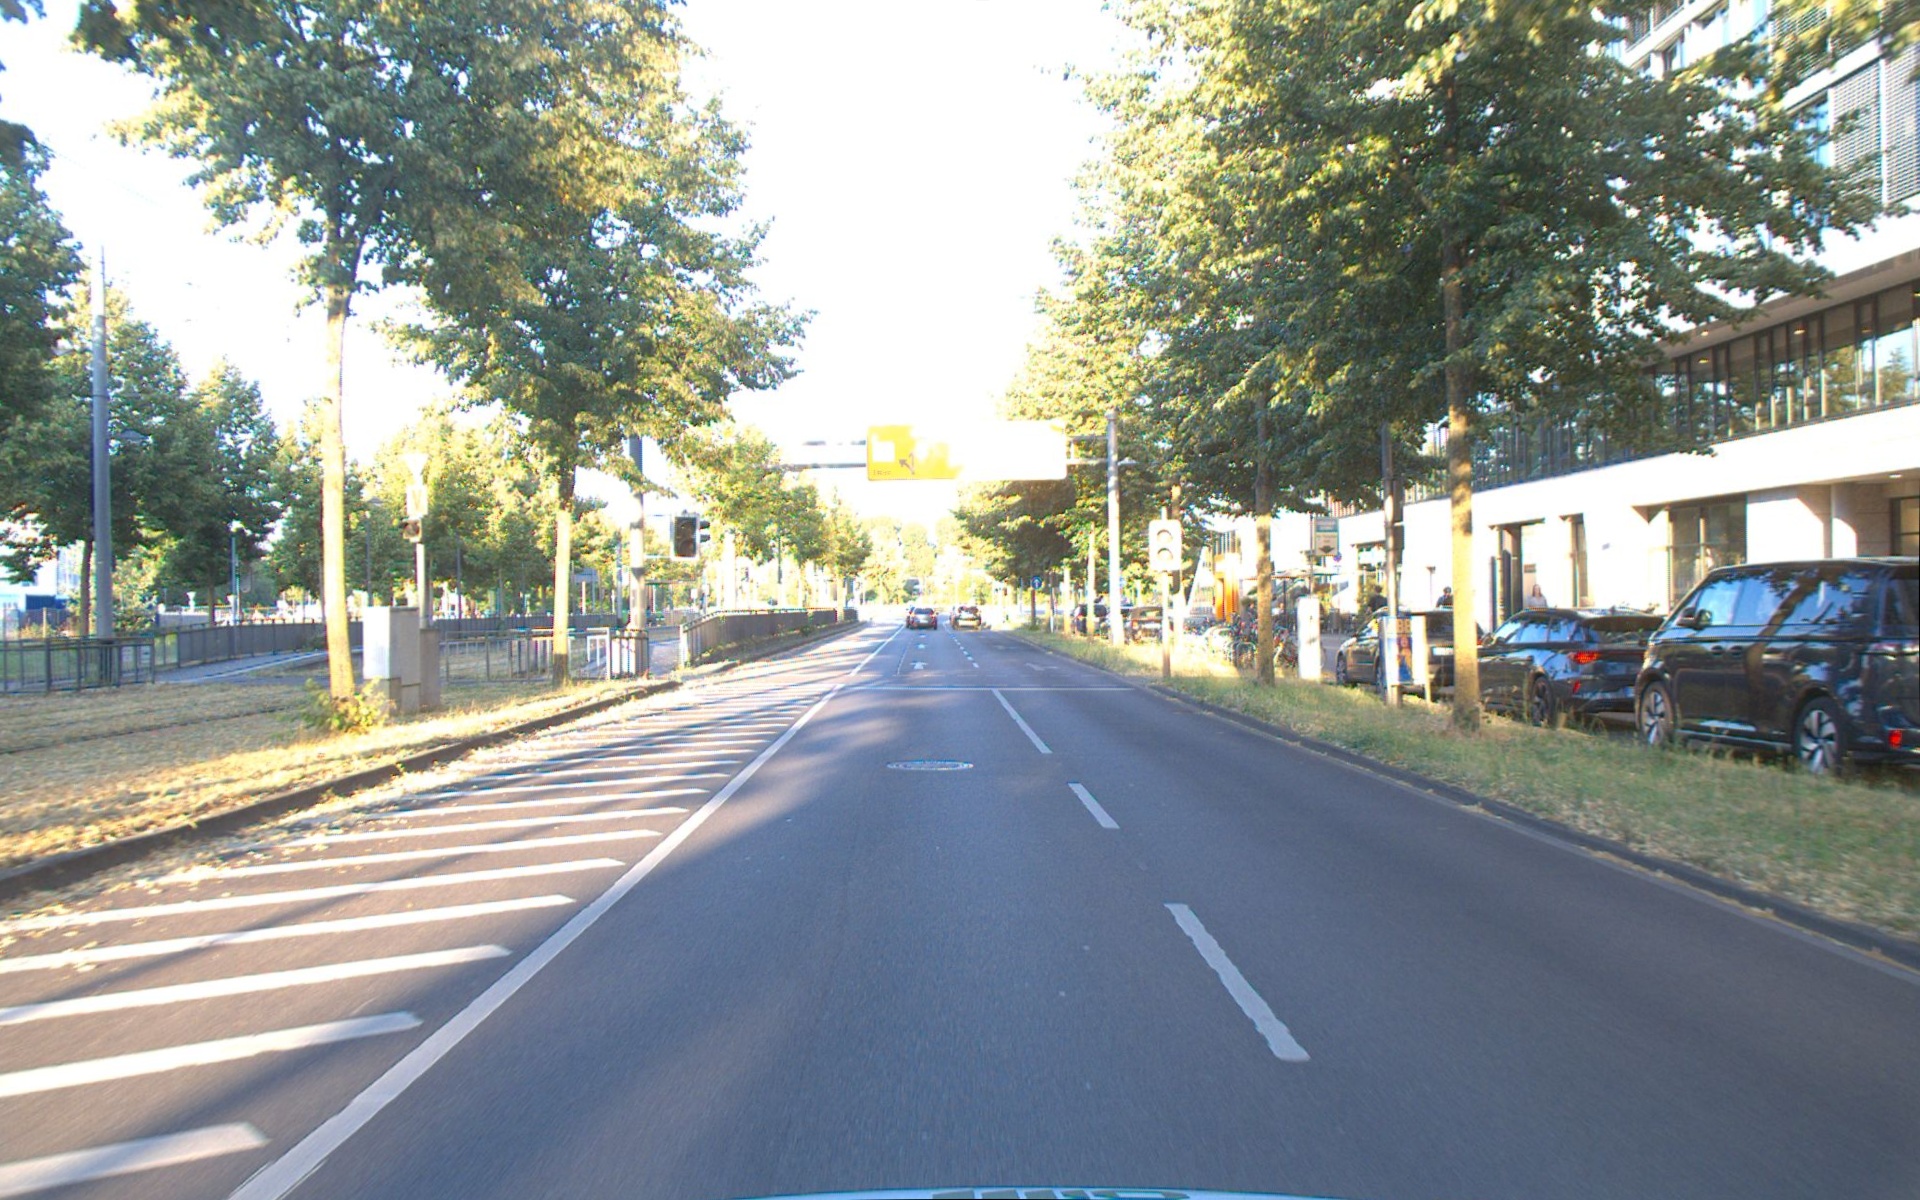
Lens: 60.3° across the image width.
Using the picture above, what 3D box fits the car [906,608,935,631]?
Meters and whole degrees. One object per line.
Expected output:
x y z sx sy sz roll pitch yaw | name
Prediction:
-2.658 1.308 111.404 1.873 1.512 3.998 -1 0 -2 | car

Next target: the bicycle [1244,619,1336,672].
7.351 1.004 36.858 1.903 1.072 0.545 3 -1 -2 | bicycle

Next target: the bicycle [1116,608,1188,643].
5.852 0.769 50.486 2.102 0.956 0.451 3 -1 -8 | bicycle

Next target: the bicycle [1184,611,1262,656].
6.729 0.850 42.269 1.906 1.072 0.413 3 -1 -9 | bicycle

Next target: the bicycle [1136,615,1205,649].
6.614 1.007 51.979 2.102 0.956 0.442 3 -1 -8 | bicycle

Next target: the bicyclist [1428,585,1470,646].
13.004 0.417 43.976 0.756 1.594 0.991 -1 0 -4 | bicyclist

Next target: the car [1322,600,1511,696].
7.528 0.744 27.740 1.831 1.436 4.645 -1 0 0 | car

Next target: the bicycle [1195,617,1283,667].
6.423 0.963 38.090 1.910 1.072 0.543 3 -1 -16 | bicycle

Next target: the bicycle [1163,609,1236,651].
6.517 0.818 45.027 1.905 1.072 0.404 3 -1 -8 | bicycle

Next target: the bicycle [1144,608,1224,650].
6.277 0.819 46.325 2.102 1.072 0.561 3 -1 -8 | bicycle

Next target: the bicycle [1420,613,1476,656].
13.004 0.907 44.122 0.756 1.098 2.062 -1 0 -4 | bicycle

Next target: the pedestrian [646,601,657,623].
-19.112 0.764 102.510 0.602 1.342 0.744 -1 0 -5 | pedestrian

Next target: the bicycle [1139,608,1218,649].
6.207 0.807 46.991 2.102 1.072 0.570 3 -1 -8 | bicycle

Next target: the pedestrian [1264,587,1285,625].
14.969 0.292 78.782 0.696 1.768 0.682 -1 -1 -32 | pedestrian

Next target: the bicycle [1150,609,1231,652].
6.359 0.833 45.640 2.102 1.072 0.570 3 -1 -8 | bicycle

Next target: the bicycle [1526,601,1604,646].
16.279 0.625 44.520 1.943 1.161 0.503 -1 0 -5 | bicycle

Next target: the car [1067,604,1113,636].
6.481 0.983 82.769 1.722 1.491 4.155 -1 0 -4 | car

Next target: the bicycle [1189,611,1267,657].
6.775 0.854 41.787 1.906 1.072 0.347 3 -1 -9 | bicycle

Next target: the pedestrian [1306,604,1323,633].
15.372 0.798 71.725 0.560 1.216 0.806 -1 0 -1 | pedestrian

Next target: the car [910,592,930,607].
-3.962 -0.039 162.589 1.873 1.512 3.998 -1 0 -2 | car

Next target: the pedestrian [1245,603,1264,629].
14.726 0.802 82.716 0.617 1.305 0.712 -1 0 -23 | pedestrian

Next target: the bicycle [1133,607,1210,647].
6.077 0.777 47.576 2.102 1.072 0.524 3 -1 -8 | bicycle

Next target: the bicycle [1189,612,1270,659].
6.619 0.875 40.593 1.906 1.072 0.408 3 -1 -9 | bicycle

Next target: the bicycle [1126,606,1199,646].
5.947 0.752 48.575 2.102 1.072 0.300 3 -1 -8 | bicycle

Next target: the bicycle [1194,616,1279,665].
6.580 0.964 39.401 1.908 1.072 0.543 3 -1 -12 | bicycle

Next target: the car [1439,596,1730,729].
7.873 0.729 21.381 1.773 1.497 4.662 -1 0 -3 | car

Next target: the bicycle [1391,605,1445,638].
16.157 0.754 58.320 1.750 1.124 0.508 -1 -1 -6 | bicycle

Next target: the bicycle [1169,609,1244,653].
6.576 0.830 44.093 1.904 1.072 0.404 3 -1 -5 | bicycle

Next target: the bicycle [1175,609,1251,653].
6.652 0.817 43.474 1.906 1.072 0.413 3 -1 -9 | bicycle

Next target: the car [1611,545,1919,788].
8.008 0.511 15.241 1.954 1.884 4.662 -1 0 -3 | car

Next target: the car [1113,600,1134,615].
19.449 0.844 197.028 1.951 1.758 4.003 -1 0 14 | car

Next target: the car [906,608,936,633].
-2.486 1.262 104.887 1.873 1.512 3.998 -1 0 -2 | car

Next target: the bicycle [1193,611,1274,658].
6.792 0.850 41.041 1.906 1.072 0.408 3 -1 -9 | bicycle

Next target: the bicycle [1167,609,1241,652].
6.576 0.815 44.565 1.905 1.072 0.404 3 -1 -8 | bicycle

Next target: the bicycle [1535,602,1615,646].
16.293 0.628 43.848 1.943 1.119 0.503 -1 0 -5 | bicycle

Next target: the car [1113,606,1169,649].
6.602 0.967 60.614 1.543 1.498 3.881 -1 0 -1 | car

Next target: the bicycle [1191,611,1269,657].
6.759 0.859 41.427 1.906 1.072 0.314 3 -1 -9 | bicycle

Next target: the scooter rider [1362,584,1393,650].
10.735 0.430 42.525 0.515 1.667 0.831 -1 0 -4 | scooter rider

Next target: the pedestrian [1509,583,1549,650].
14.550 0.419 42.301 0.630 1.677 0.953 -1 0 -2 | pedestrian

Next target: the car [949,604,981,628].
0.319 0.993 104.585 1.873 1.512 3.998 -1 0 -2 | car

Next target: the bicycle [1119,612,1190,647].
6.006 0.908 51.022 2.102 0.956 0.442 3 -1 -8 | bicycle

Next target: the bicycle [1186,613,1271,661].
6.497 0.888 40.037 1.906 1.072 0.544 3 -1 -9 | bicycle

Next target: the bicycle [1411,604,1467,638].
16.292 0.703 56.226 1.750 1.124 0.508 -1 -1 -6 | bicycle

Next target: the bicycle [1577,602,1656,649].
16.528 0.636 41.629 1.795 1.132 0.503 -1 0 -5 | bicycle

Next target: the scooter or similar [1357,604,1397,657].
10.735 0.784 42.638 0.515 1.333 1.663 -1 0 -4 | scooter or similar

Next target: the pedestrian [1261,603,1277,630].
15.376 0.812 82.380 0.567 1.305 0.738 -1 0 -5 | pedestrian

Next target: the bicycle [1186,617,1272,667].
6.293 0.973 38.666 1.910 1.072 0.543 3 -1 -16 | bicycle

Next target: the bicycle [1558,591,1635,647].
16.401 0.487 42.615 1.795 1.380 0.503 -1 0 -5 | bicycle

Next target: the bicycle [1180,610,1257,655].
6.697 0.829 42.844 1.906 1.072 0.413 3 -1 -9 | bicycle

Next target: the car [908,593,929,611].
-3.671 0.173 146.059 1.873 1.512 3.998 -1 0 -2 | car

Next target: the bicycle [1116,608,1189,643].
5.823 0.777 49.994 2.102 0.956 0.442 3 -1 -8 | bicycle

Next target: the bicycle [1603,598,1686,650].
16.488 0.574 39.848 1.793 1.198 0.445 -1 0 -1 | bicycle

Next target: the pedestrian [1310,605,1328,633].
15.363 0.806 70.782 0.560 1.216 0.806 -1 0 1 | pedestrian

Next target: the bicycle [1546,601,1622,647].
16.282 0.623 43.162 1.795 1.141 0.503 -1 0 -5 | bicycle

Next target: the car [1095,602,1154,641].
6.710 0.863 67.758 1.742 1.498 4.285 -1 0 -3 | car
